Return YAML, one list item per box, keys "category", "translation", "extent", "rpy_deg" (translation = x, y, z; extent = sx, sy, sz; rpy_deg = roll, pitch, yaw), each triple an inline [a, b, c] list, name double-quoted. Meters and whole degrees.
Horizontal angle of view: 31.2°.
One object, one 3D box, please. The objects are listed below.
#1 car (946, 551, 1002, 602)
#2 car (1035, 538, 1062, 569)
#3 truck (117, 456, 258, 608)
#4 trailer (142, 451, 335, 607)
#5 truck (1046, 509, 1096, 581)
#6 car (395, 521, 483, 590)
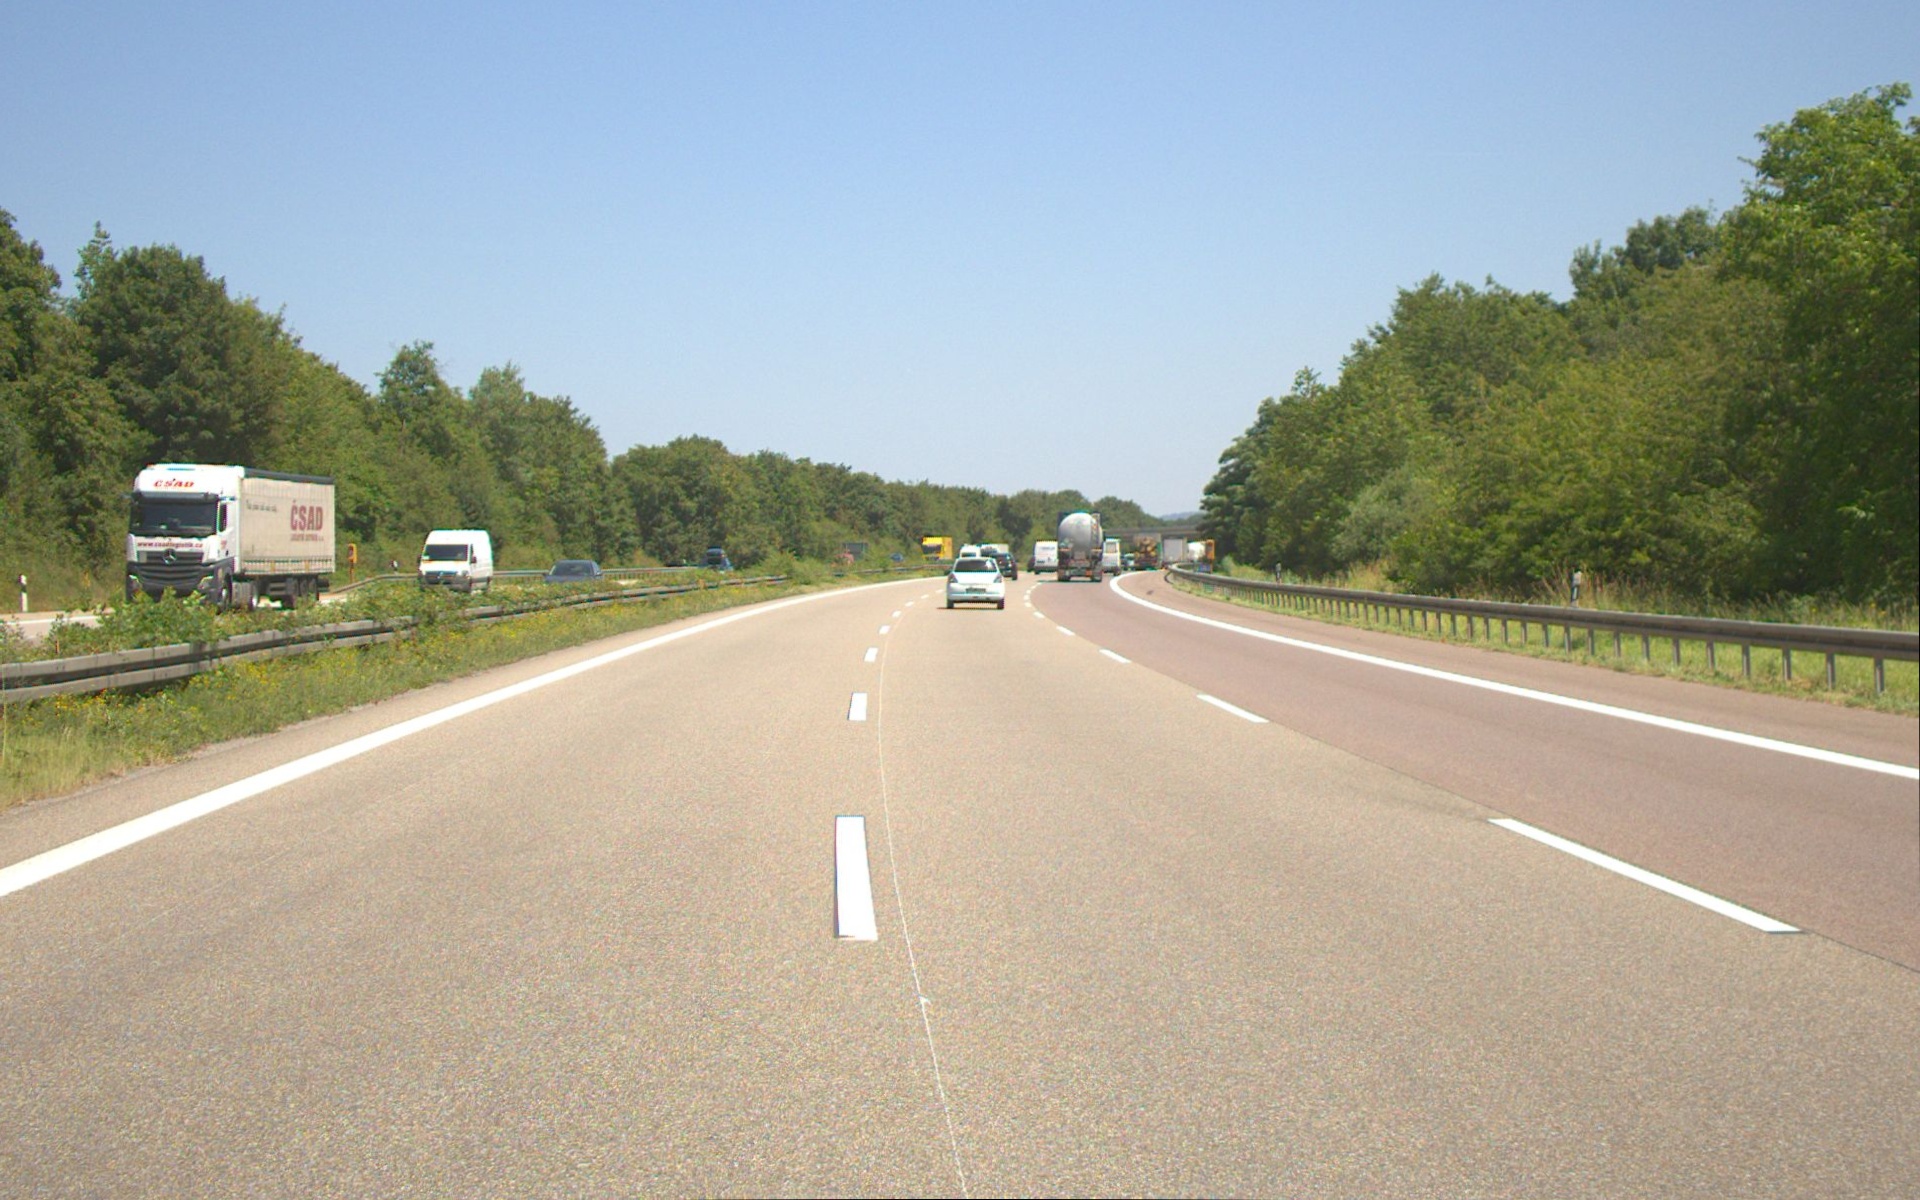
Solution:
- category: "car"
  translation: [0.402, -0.686, 101.206]
  extent: [1.627, 1.474, 4.000]
  rpy_deg: [0, 0, 0]
- category: "car"
  translation: [6.721, -3.513, 260.784]
  extent: [1.993, 2.335, 4.387]
  rpy_deg: [0, 1, 2]
- category: "truck"
  translation: [-20.714, -1.802, 92.402]
  extent: [2.702, 3.952, 4.443]
  rpy_deg: [-1, 1, 1]
- category: "trailer"
  translation: [-20.695, -2.011, 99.535]
  extent: [2.706, 4.169, 13.559]
  rpy_deg: [-1, 1, 0]
- category: "truck"
  translation: [6.408, -3.129, 197.494]
  extent: [2.739, 4.038, 10.454]
  rpy_deg: [0, 0, 2]
- category: "car"
  translation: [-20.378, -1.741, 134.788]
  extent: [2.229, 2.568, 7.392]
  rpy_deg: [-1, 1, 0]
